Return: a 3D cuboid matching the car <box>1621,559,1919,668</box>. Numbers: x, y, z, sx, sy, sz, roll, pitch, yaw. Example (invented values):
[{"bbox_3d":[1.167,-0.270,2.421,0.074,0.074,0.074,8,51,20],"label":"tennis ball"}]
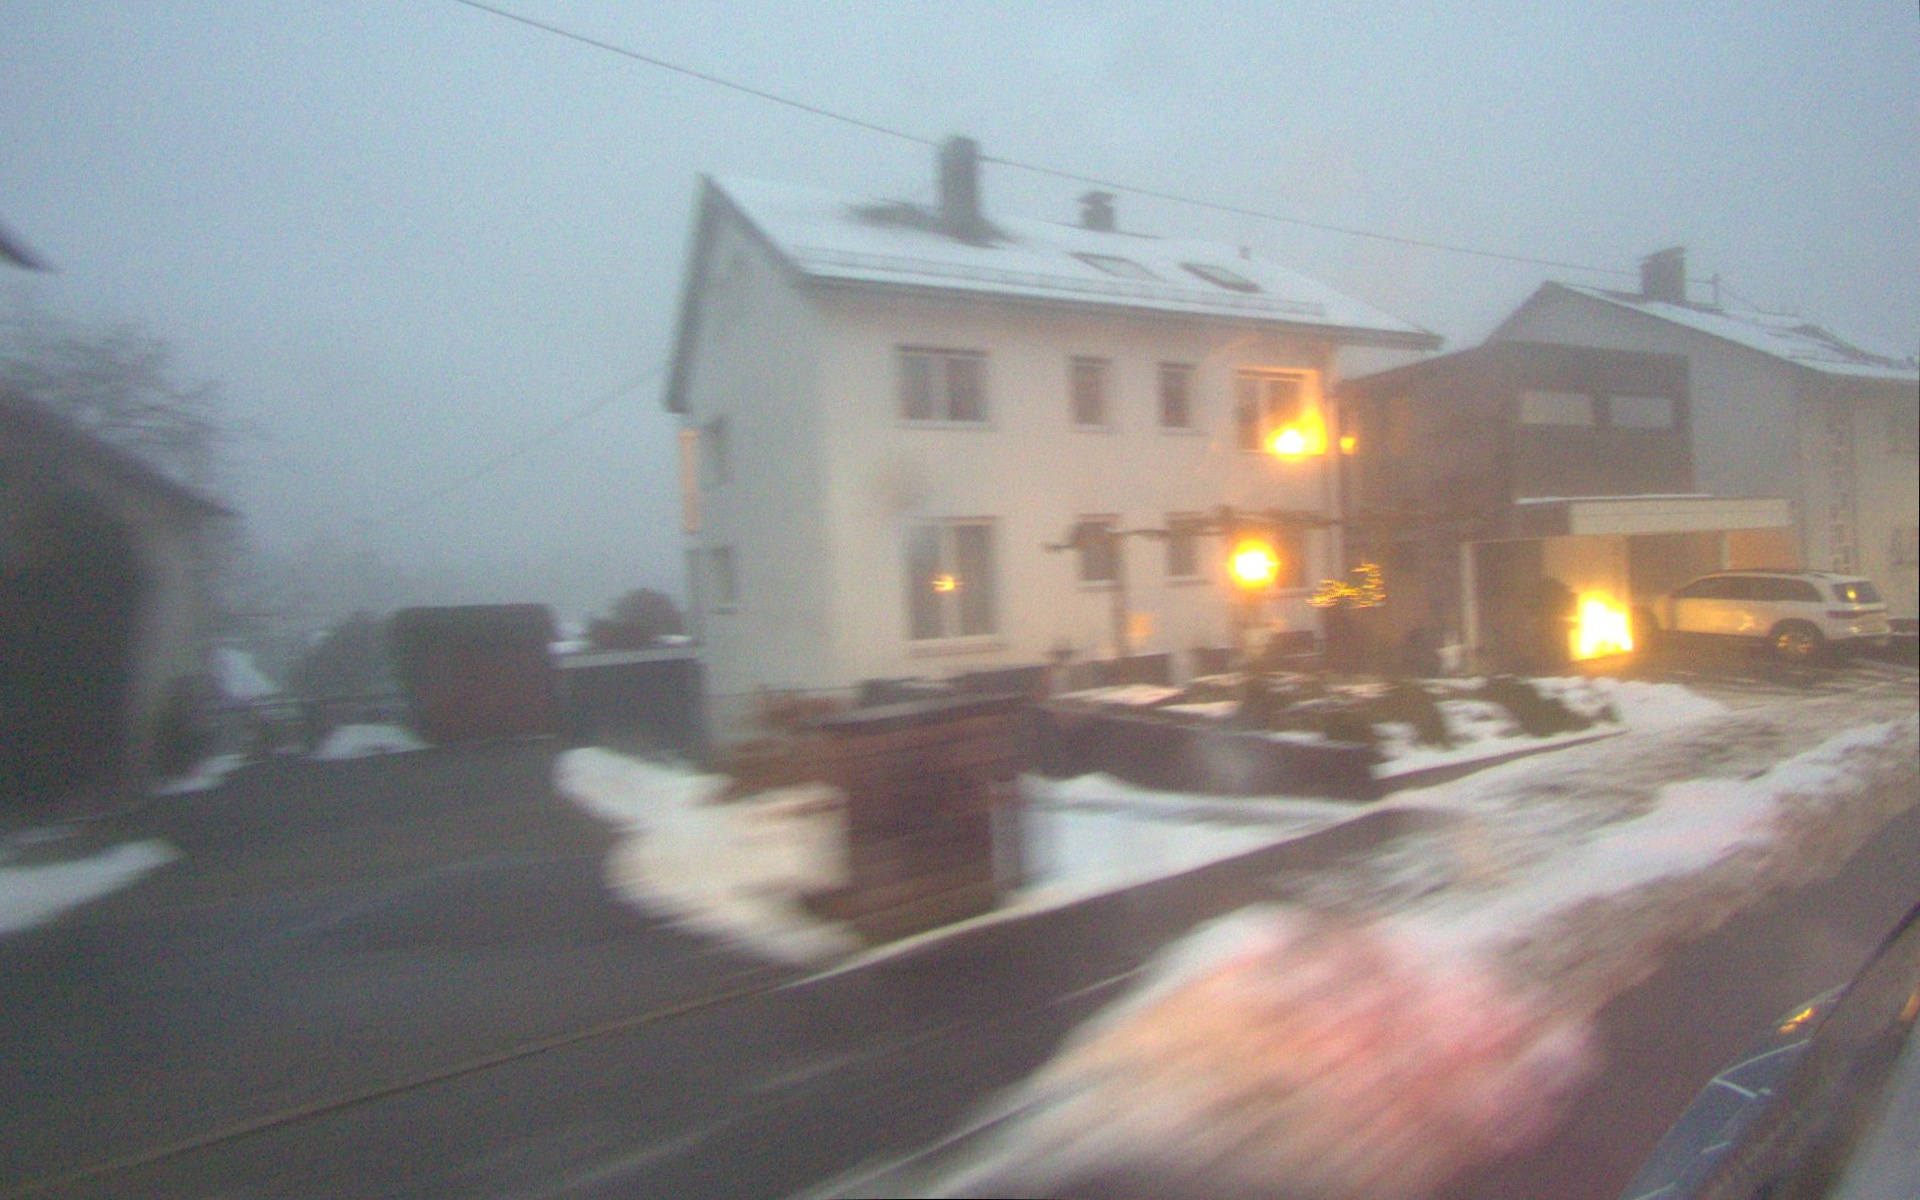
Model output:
[{"bbox_3d":[15.710,0.187,19.867,1.872,1.881,4.227,-1,1,-26],"label":"car"}]
